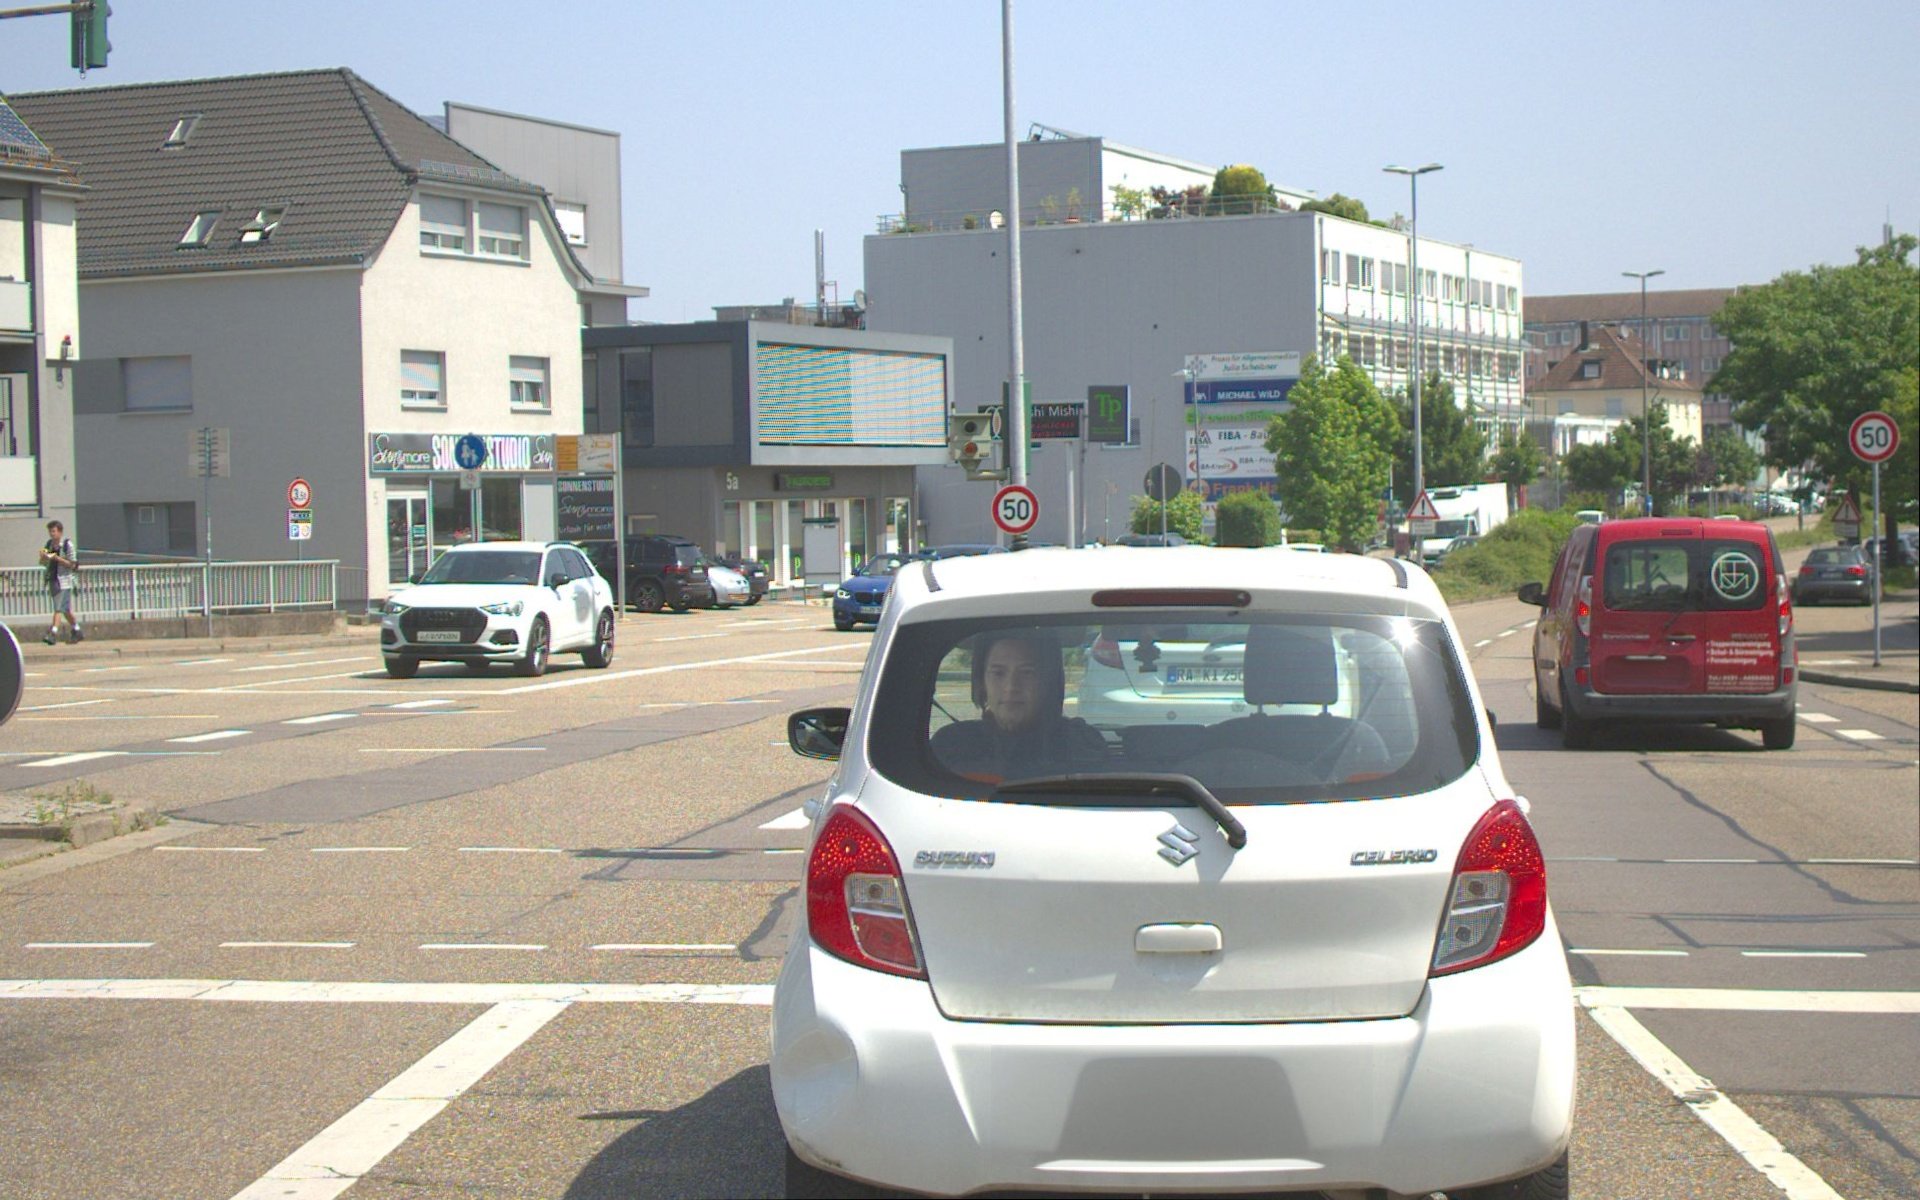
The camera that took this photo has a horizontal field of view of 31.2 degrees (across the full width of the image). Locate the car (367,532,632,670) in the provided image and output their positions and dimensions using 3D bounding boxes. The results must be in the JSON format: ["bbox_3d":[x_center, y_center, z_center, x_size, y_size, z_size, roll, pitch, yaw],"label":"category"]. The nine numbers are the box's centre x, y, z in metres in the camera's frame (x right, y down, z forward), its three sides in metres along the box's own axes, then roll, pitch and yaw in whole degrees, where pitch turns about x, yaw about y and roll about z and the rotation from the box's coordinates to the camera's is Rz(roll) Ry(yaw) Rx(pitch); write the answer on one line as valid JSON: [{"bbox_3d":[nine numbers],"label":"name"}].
[{"bbox_3d":[-5.533,-0.028,41.895,1.818,1.565,4.554,1,1,11],"label":"car"}]

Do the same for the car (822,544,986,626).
[{"bbox_3d":[-0.941,-0.279,60.403,1.864,1.361,4.344,1,1,13],"label":"car"}]

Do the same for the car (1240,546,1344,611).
[{"bbox_3d":[7.772,-0.523,80.146,1.864,1.426,4.742,1,1,12],"label":"car"}]

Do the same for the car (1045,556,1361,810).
[{"bbox_3d":[1.651,0.457,22.106,1.830,1.445,3.999,1,1,7],"label":"car"}]

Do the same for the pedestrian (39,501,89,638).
[{"bbox_3d":[-13.306,-0.459,51.065,0.502,2.006,0.743,1,2,5],"label":"pedestrian"}]

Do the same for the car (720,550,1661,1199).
[{"bbox_3d":[0.448,0.653,7.906,1.712,1.505,3.247,0,0,1],"label":"car"}]

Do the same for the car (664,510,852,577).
[{"bbox_3d":[-4.874,-1.363,83.178,4.060,1.516,1.998,-1,1,19],"label":"car"}]

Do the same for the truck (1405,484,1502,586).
[{"bbox_3d":[17.182,-2.216,119.376,2.266,3.406,7.033,1,0,17],"label":"truck"}]

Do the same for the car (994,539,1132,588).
[{"bbox_3d":[3.194,-1.113,106.443,3.990,1.454,1.574,-1,0,17],"label":"car"}]

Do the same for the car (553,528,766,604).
[{"bbox_3d":[-7.042,-0.802,80.663,4.609,1.491,1.751,3,2,14],"label":"car"}]

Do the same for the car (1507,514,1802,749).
[{"bbox_3d":[5.473,0.197,27.534,1.795,1.723,3.972,1,1,4],"label":"car"}]

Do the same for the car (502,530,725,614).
[{"bbox_3d":[-7.785,-0.650,77.218,4.611,1.621,1.852,3,2,21],"label":"car"}]

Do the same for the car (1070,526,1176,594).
[{"bbox_3d":[4.187,-1.045,87.718,1.994,1.650,4.591,-1,1,12],"label":"car"}]

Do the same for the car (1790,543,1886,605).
[{"bbox_3d":[21.266,-0.653,83.152,1.799,1.401,4.316,1,2,20],"label":"car"}]

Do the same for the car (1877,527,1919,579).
[{"bbox_3d":[30.929,-1.566,110.898,1.963,1.525,5.156,-3,1,22],"label":"car"}]
